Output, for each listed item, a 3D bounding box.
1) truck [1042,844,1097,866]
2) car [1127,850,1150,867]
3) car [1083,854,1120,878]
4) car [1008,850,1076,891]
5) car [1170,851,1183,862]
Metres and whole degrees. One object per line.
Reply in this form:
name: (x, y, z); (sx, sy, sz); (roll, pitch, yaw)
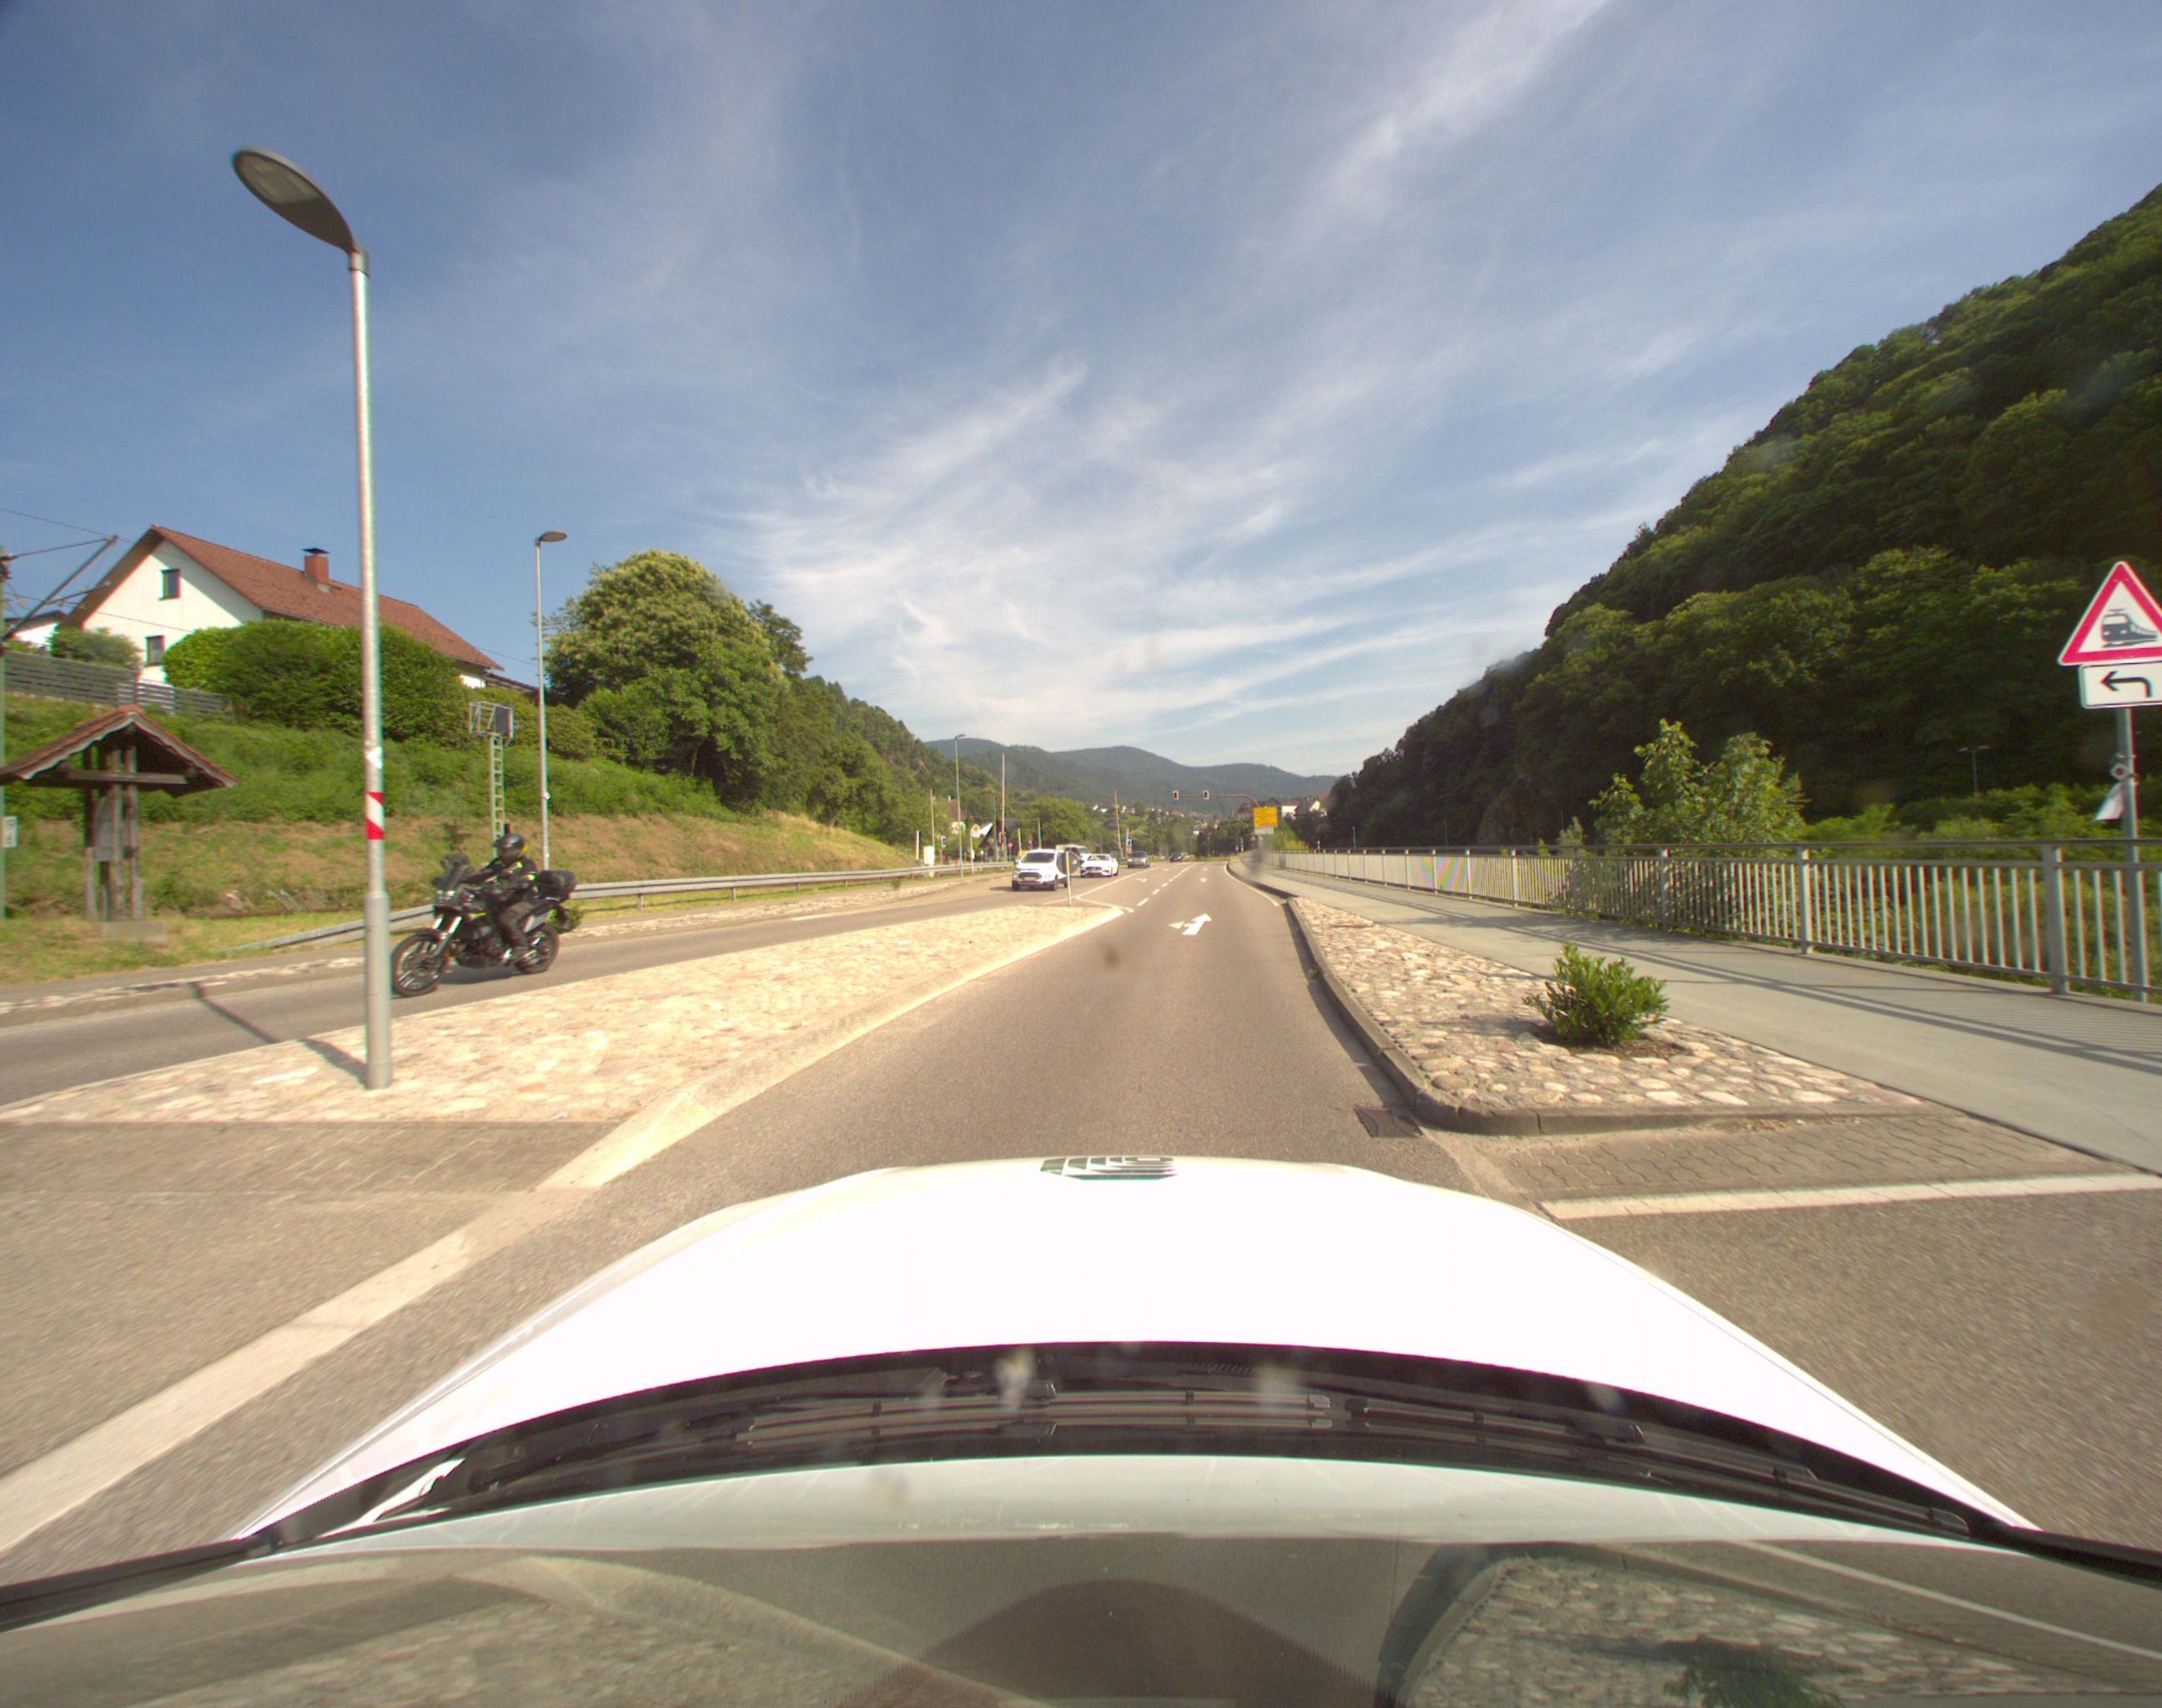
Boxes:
truck: (-1.231, 0.129, 85.062); (5.926, 2.267, 2.012); (0, -2, 40)
car: (5.404, 0.449, 76.211); (1.748, 1.521, 4.215); (-1, 0, 9)
car: (1.294, 0.719, 49.769); (1.772, 1.400, 4.836); (-1, 0, 7)
car: (-1.523, 0.611, 33.138); (1.752, 1.560, 4.014); (0, 0, 13)
car: (13.724, 0.389, 117.042); (1.763, 1.416, 3.794); (-2, 0, 9)
